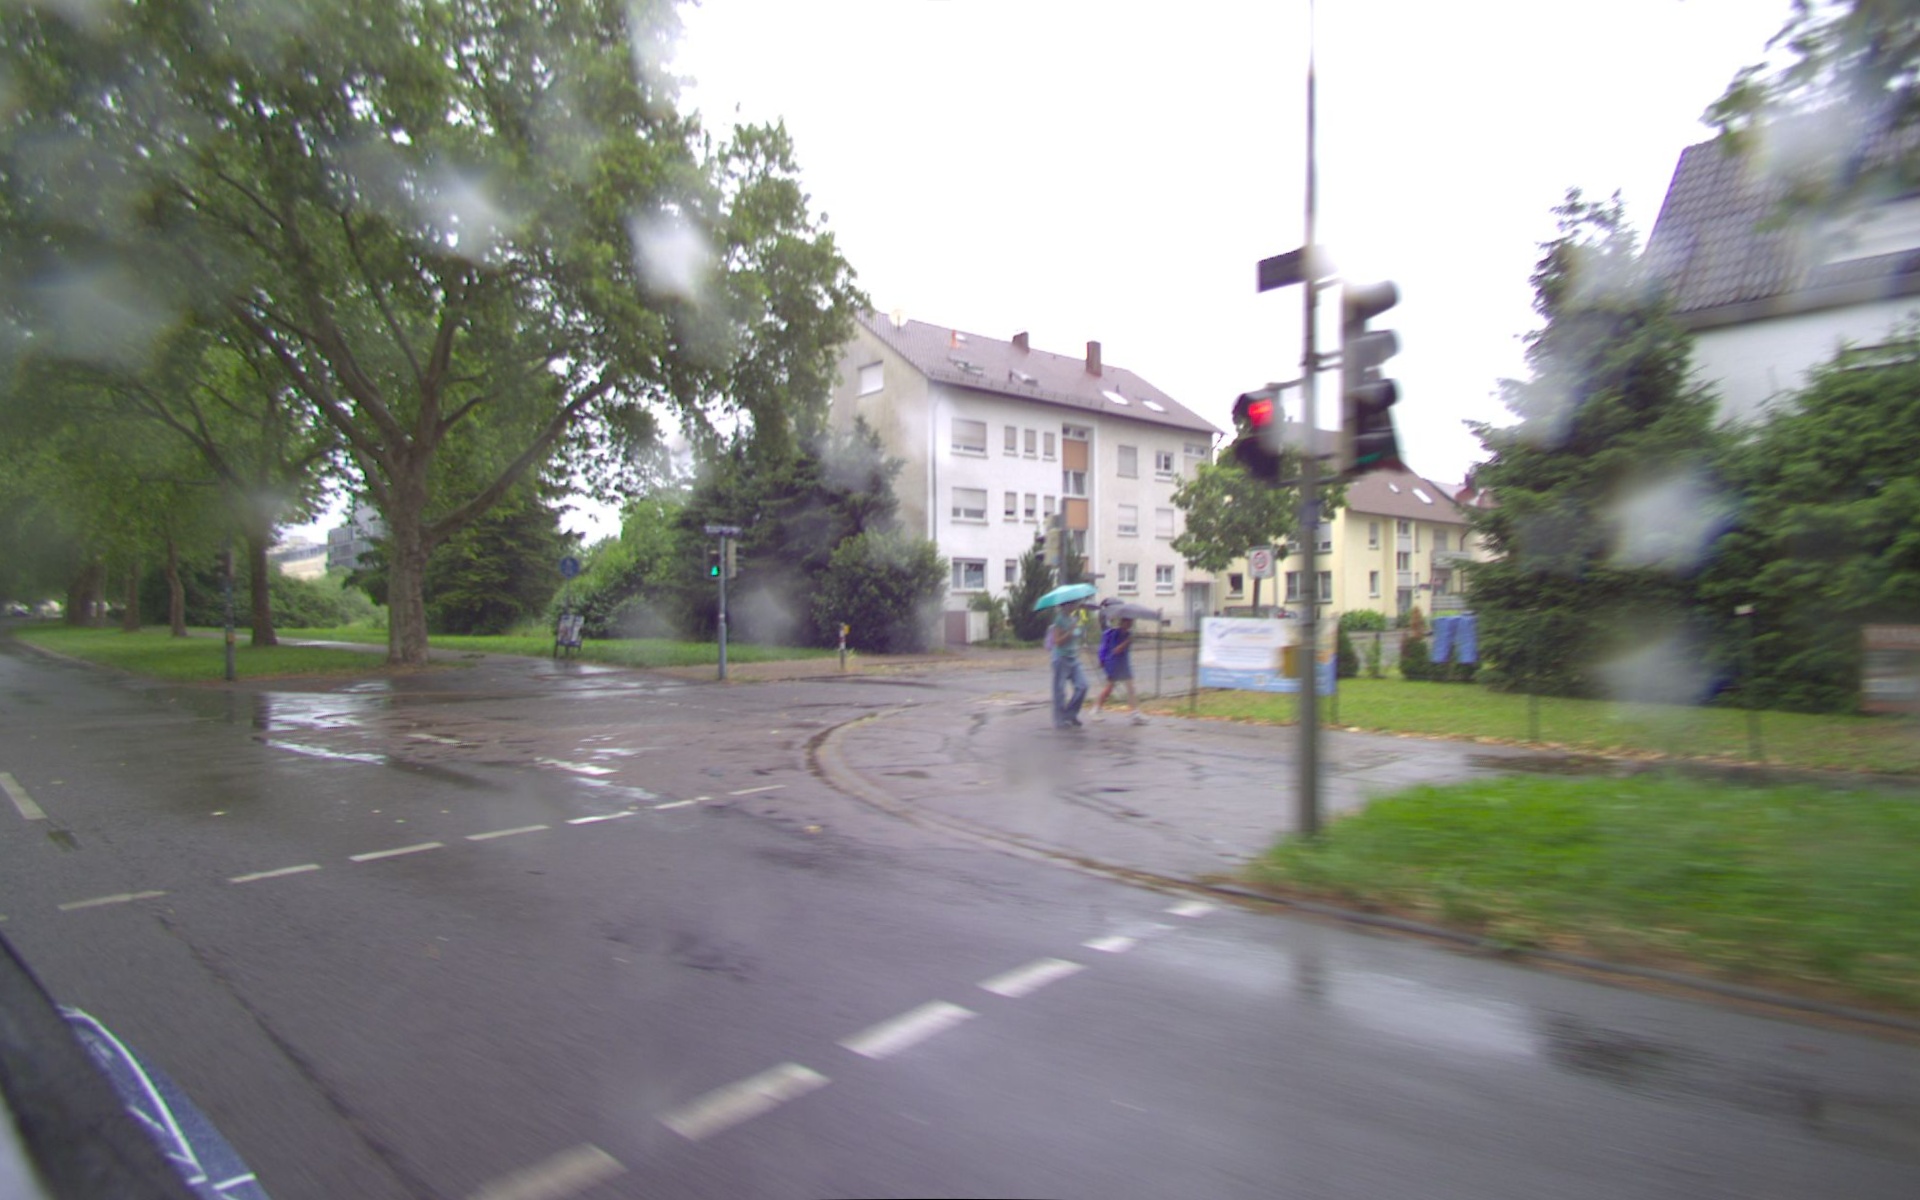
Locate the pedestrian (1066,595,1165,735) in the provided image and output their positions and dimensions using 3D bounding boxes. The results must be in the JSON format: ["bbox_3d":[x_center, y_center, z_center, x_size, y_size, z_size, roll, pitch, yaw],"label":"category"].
[{"bbox_3d":[2.089,0.850,13.588,0.880,1.779,1.021,-2,-2,45],"label":"pedestrian"}]

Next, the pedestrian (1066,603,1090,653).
[{"bbox_3d":[4.257,1.010,36.583,0.639,1.758,0.586,-2,-1,42],"label":"pedestrian"}]

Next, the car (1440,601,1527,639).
[{"bbox_3d":[20.283,0.761,39.159,3.660,1.383,1.696,0,-1,-40],"label":"car"}]

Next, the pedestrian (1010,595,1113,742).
[{"bbox_3d":[1.292,0.845,12.889,0.838,1.779,1.021,-2,-2,45],"label":"pedestrian"}]

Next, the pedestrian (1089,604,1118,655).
[{"bbox_3d":[5.051,1.040,35.533,0.639,1.758,0.849,-1,-1,42],"label":"pedestrian"}]
